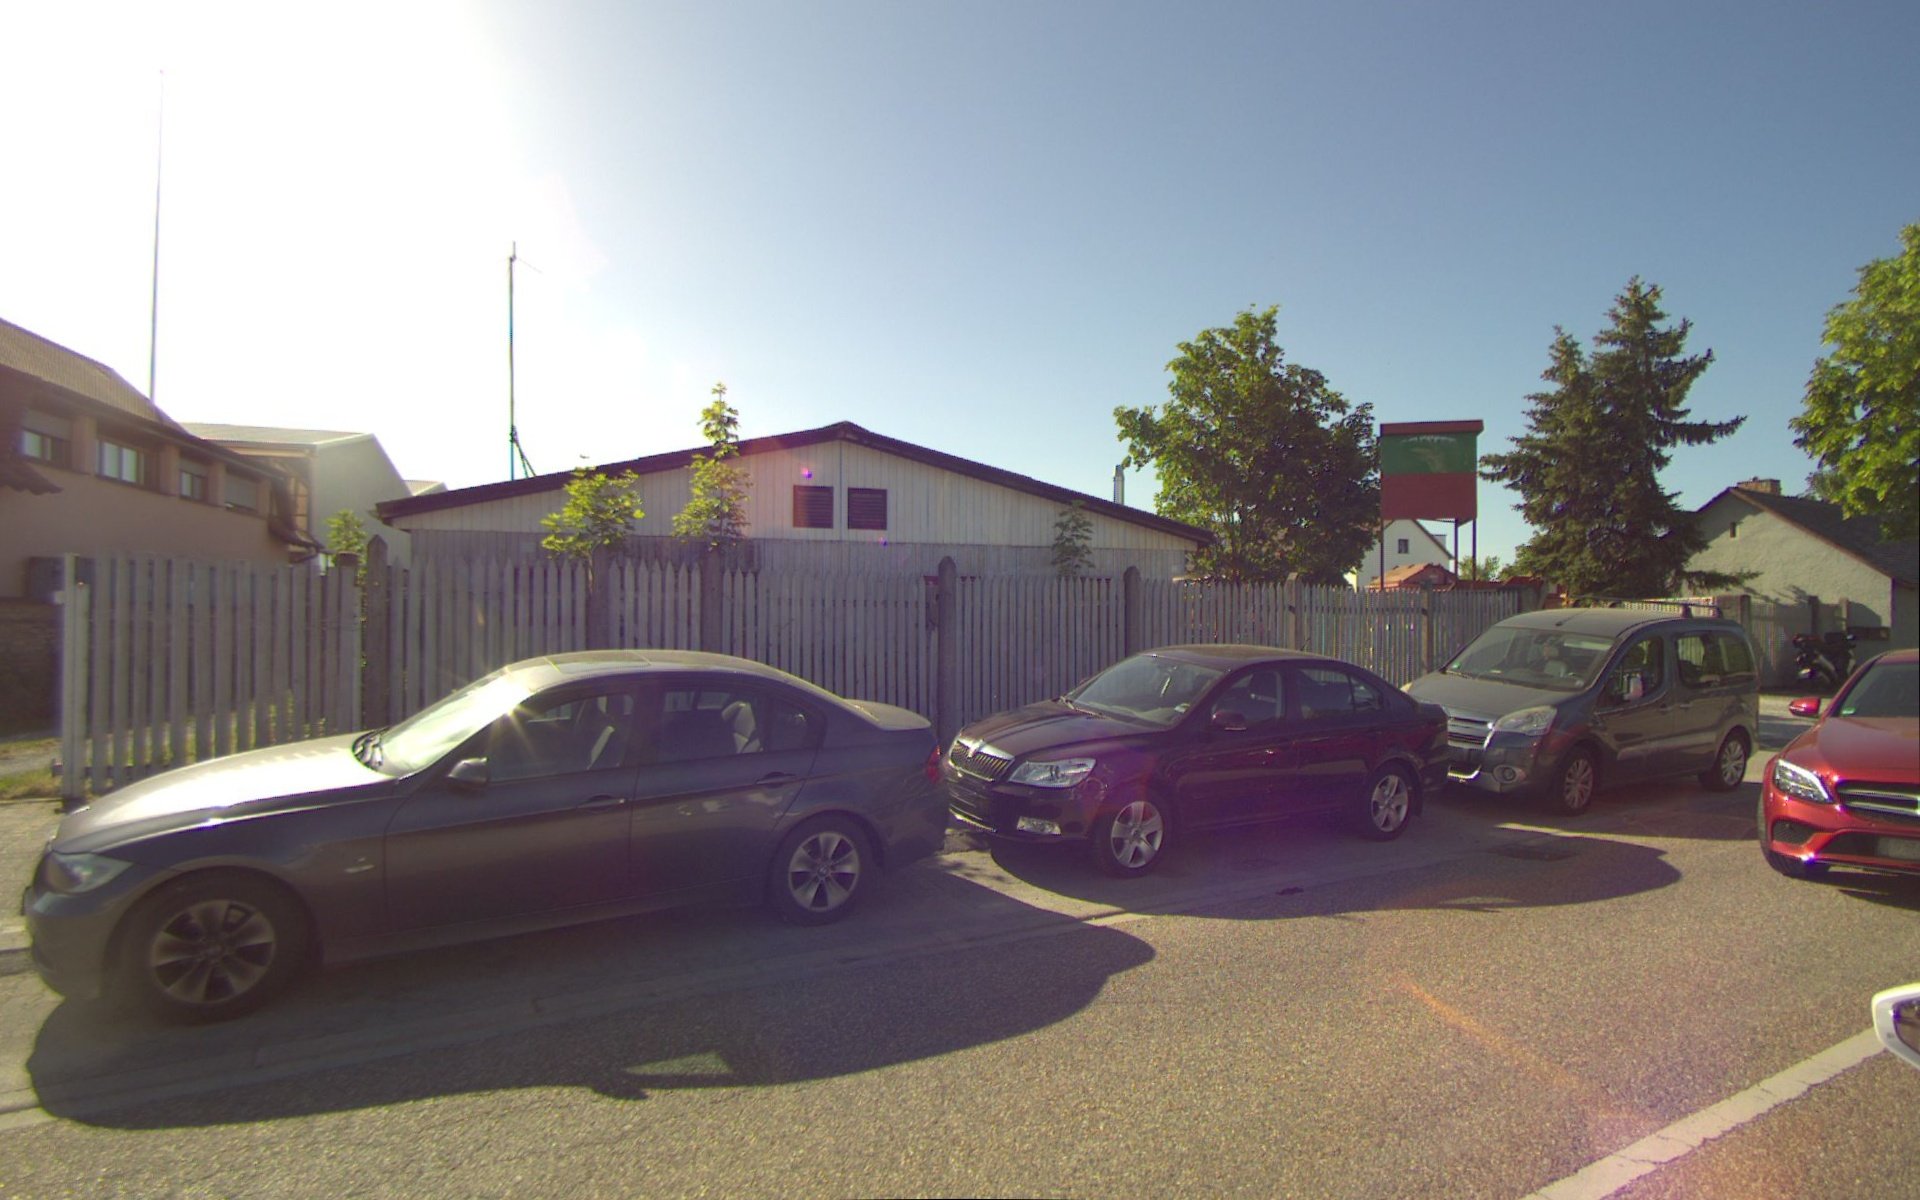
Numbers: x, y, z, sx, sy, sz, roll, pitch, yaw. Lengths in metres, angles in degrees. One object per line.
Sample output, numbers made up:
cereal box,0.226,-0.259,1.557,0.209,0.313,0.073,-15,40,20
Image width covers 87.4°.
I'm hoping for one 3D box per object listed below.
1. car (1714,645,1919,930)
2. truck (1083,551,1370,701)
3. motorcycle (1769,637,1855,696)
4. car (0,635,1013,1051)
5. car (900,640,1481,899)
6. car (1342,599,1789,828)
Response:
car,6.711,1.027,6.607,4.494,1.439,1.854,2,-4,-41
truck,6.733,0.675,26.586,2.871,3.383,7.368,1,-2,-33
motorcycle,19.271,1.478,22.696,2.510,1.250,0.696,1,1,-31
car,-2.225,0.975,5.591,4.865,1.467,1.767,1,1,-30
car,1.955,1.109,8.030,4.561,1.467,1.767,1,1,-30
car,6.211,0.983,10.197,4.557,1.874,1.768,1,1,-28
